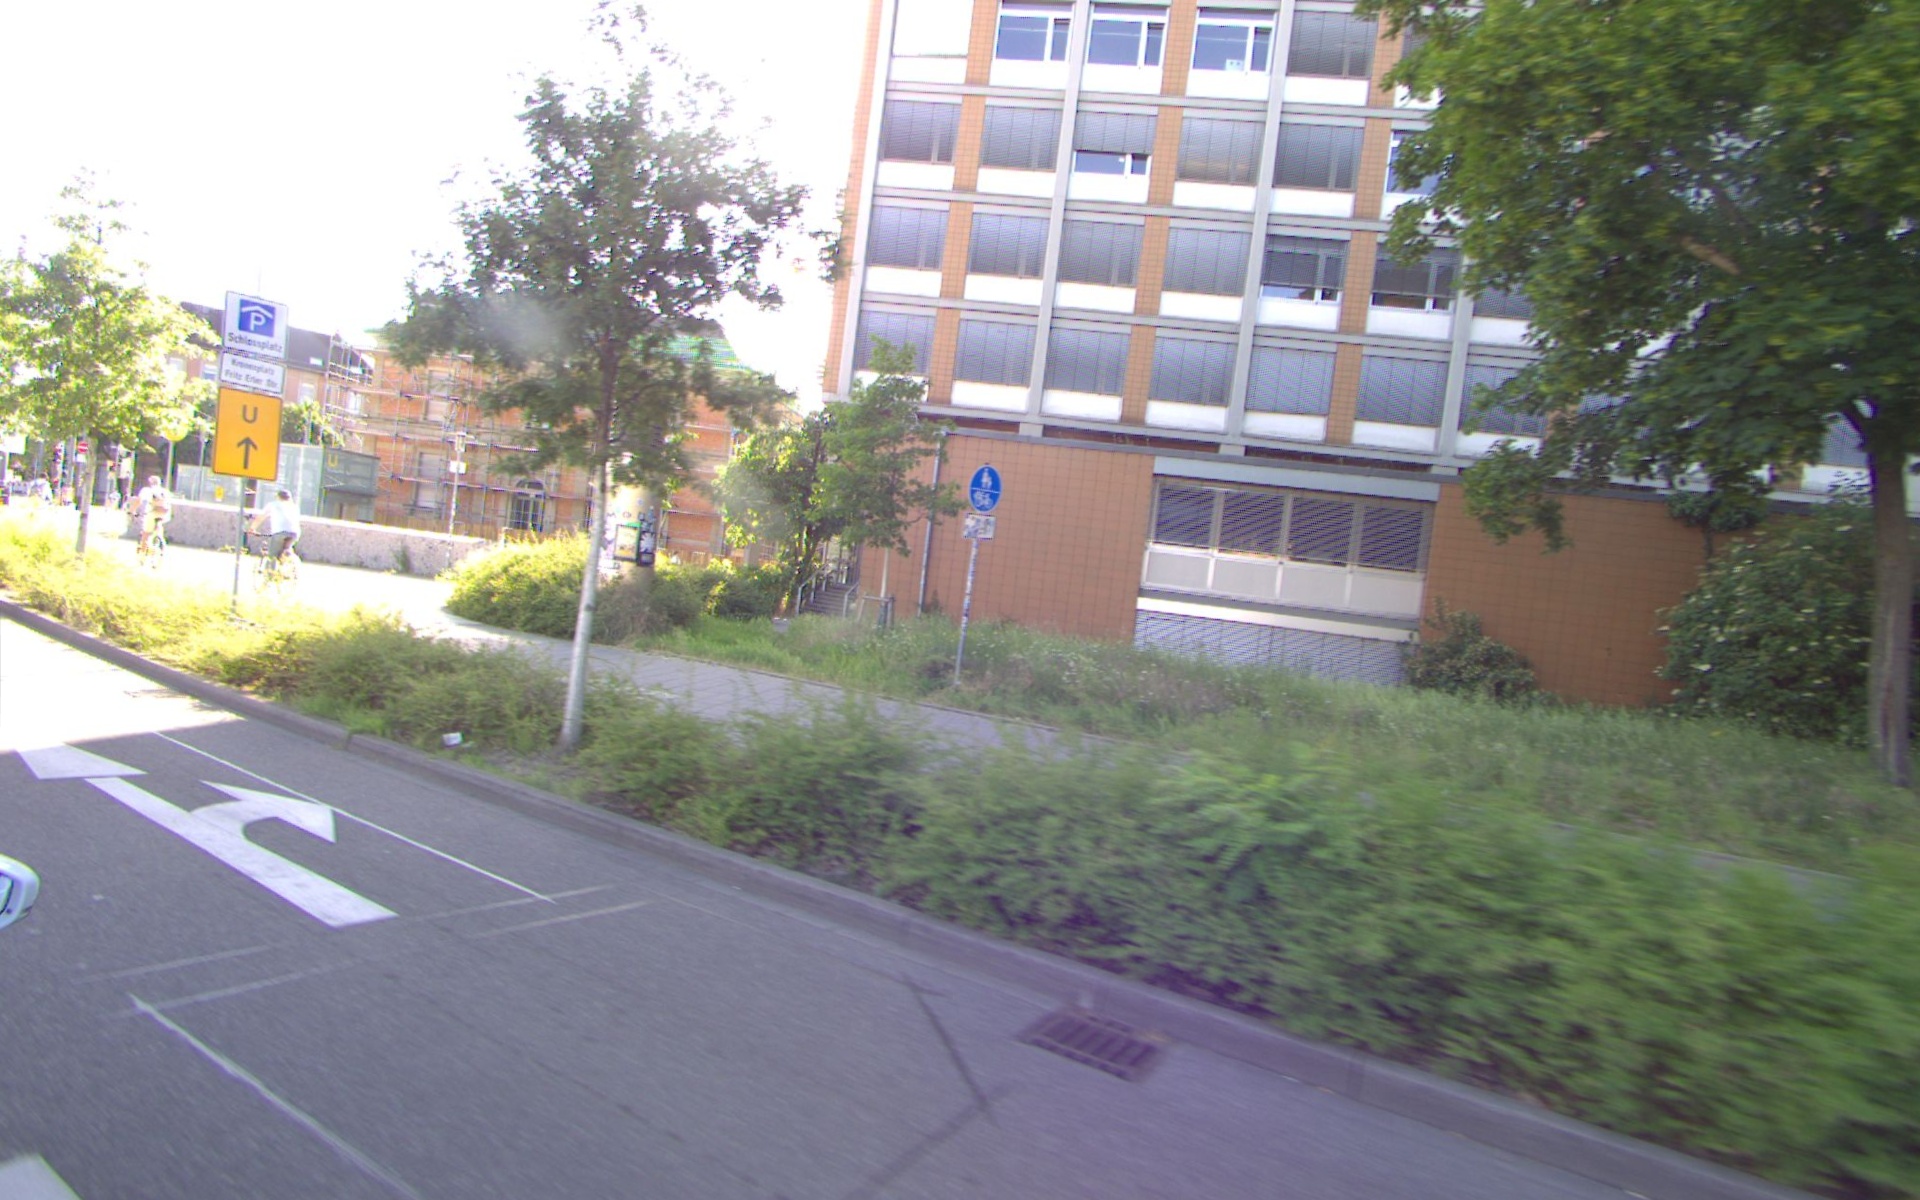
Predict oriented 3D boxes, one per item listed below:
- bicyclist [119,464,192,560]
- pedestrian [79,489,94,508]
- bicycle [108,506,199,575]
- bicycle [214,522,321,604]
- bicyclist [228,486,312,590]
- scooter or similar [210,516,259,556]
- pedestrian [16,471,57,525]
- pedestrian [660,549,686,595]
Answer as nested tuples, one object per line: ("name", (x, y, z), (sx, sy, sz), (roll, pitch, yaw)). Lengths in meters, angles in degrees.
("bicyclist", (-16.390, -1.783, 20.488), (0.961, 1.785, 0.720), (8, 1, 29))
("pedestrian", (-71.532, -8.295, 82.399), (0.787, 1.427, 0.599), (10, 2, 32))
("bicycle", (-16.442, -1.218, 20.498), (1.838, 1.180, 0.747), (8, 1, 29))
("bicycle", (-11.928, -0.648, 17.316), (1.838, 1.180, 0.717), (8, 1, 30))
("bicyclist", (-11.860, -1.061, 17.300), (0.961, 1.637, 0.720), (8, 1, 30))
("scooter or similar", (-22.509, -1.996, 31.208), (1.226, 1.025, 0.468), (10, 2, 16))
("pedestrian", (-33.005, -3.638, 35.968), (0.586, 1.744, 0.868), (6, -1, -15))
("pedestrian", (-11.949, -1.166, 41.832), (0.534, 1.774, 0.780), (8, 2, -40))
